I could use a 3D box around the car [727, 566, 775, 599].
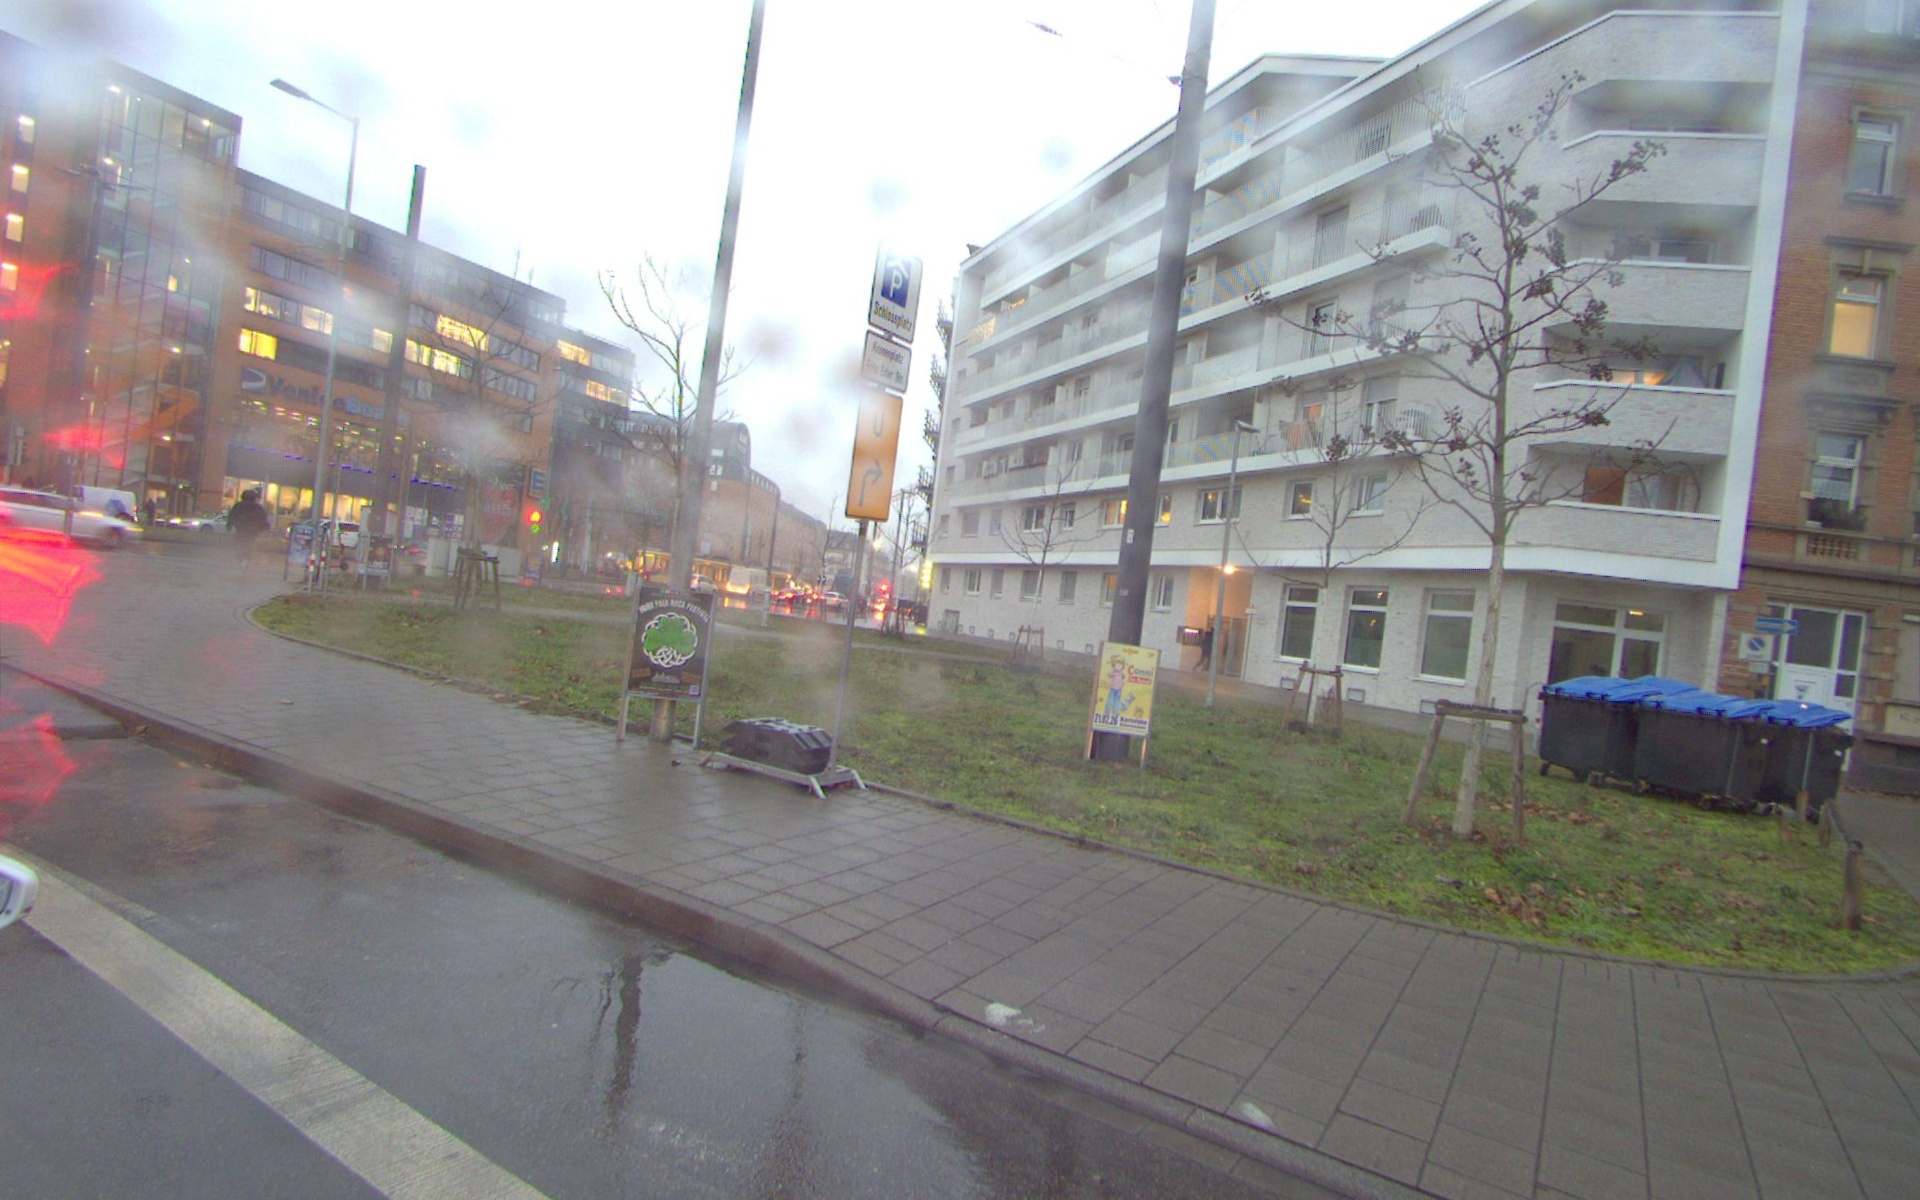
[{"bbox_3d":[-17.467,-1.455,84.251,1.962,2.036,4.957,8,-2,11],"label":"car"}]

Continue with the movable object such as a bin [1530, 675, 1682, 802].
[{"bbox_3d":[9.055,1.919,14.150,1.017,1.513,1.322,7,0,-21],"label":"movable object such as a bin"}]

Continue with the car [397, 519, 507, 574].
[{"bbox_3d":[-22.744,-2.353,45.207,1.963,1.898,3.998,8,1,21],"label":"car"}]

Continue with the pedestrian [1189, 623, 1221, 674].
[{"bbox_3d":[8.785,1.739,36.142,0.670,1.733,0.601,9,-1,-29],"label":"pedestrian"}]

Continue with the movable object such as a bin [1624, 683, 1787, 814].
[{"bbox_3d":[9.582,1.896,12.967,1.003,1.434,1.218,6,1,-21],"label":"movable object such as a bin"}]

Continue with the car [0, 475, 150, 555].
[{"bbox_3d":[-26.900,-2.541,29.351,1.798,1.873,4.682,6,-1,23],"label":"car"}]

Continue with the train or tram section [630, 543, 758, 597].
[{"bbox_3d":[-23.093,-2.415,89.069,2.293,3.300,16.666,7,-1,17],"label":"train or tram section"}]

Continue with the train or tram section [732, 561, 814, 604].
[{"bbox_3d":[-18.943,-1.633,103.032,2.293,3.300,13.005,7,-1,17],"label":"train or tram section"}]

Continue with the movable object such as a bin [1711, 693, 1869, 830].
[{"bbox_3d":[10.743,2.071,13.055,1.021,1.507,1.039,9,-2,-12],"label":"movable object such as a bin"}]

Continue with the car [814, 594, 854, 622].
[{"bbox_3d":[-11.881,0.765,95.088,1.962,2.036,4.376,8,-2,16],"label":"car"}]

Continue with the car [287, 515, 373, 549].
[{"bbox_3d":[-41.168,-4.424,65.872,1.767,1.553,4.444,7,-1,25],"label":"car"}]

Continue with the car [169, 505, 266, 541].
[{"bbox_3d":[-43.731,-4.505,59.361,1.767,1.406,4.227,7,-1,25],"label":"car"}]

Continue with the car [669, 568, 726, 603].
[{"bbox_3d":[-19.929,-1.097,76.586,1.963,2.036,4.003,8,-2,22],"label":"car"}]

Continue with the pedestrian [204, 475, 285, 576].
[{"bbox_3d":[-15.449,-1.591,21.741,1.164,1.946,0.890,10,-2,-35],"label":"pedestrian"}]

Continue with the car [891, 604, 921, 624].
[{"bbox_3d":[-5.853,1.522,109.460,1.962,1.600,4.094,8,-3,16],"label":"car"}]

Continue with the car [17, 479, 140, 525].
[{"bbox_3d":[-46.152,-5.103,52.778,1.767,1.614,4.431,7,-1,25],"label":"car"}]
